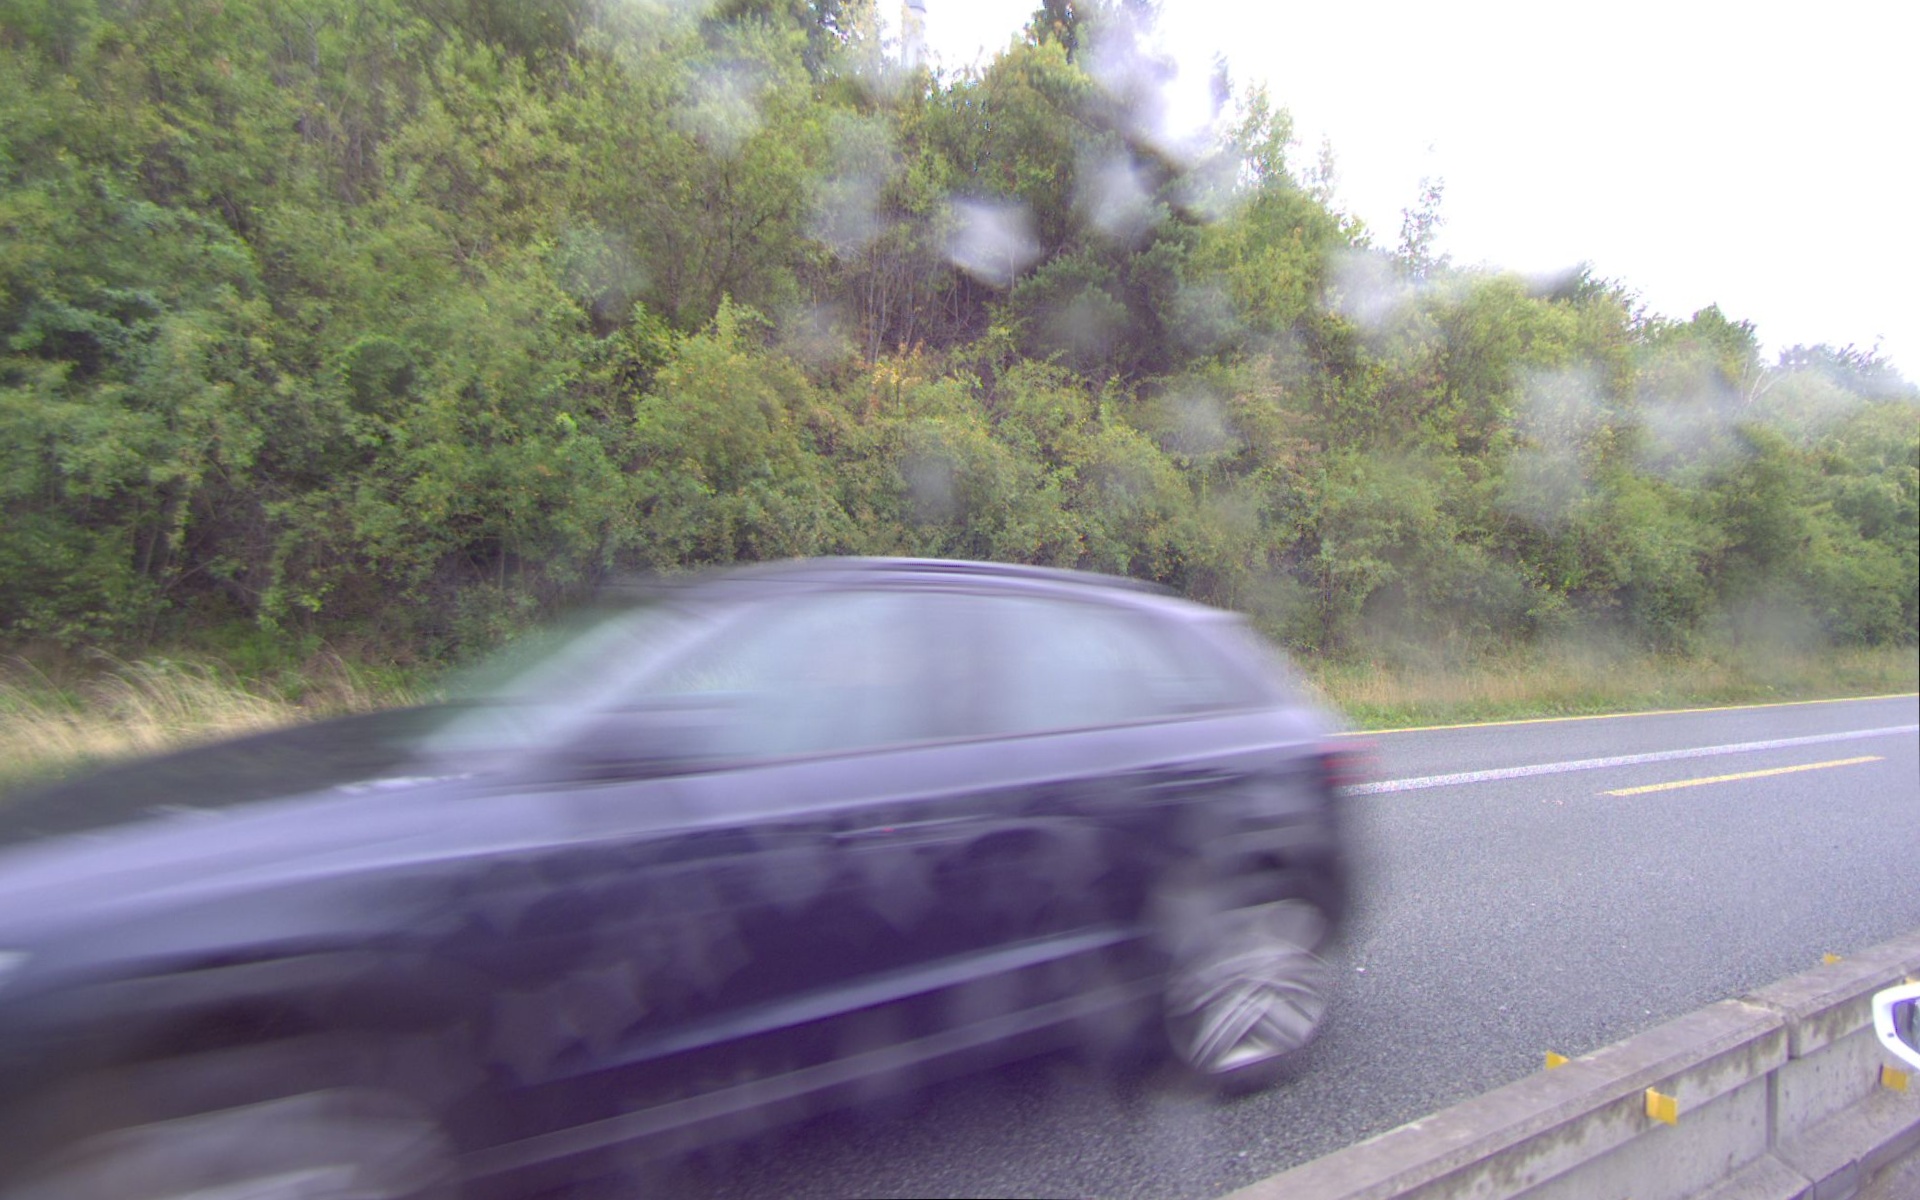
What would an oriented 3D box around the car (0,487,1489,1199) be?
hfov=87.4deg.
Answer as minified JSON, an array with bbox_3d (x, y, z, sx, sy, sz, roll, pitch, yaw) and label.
[{"bbox_3d":[-0.294,0.664,3.299,3.944,1.580,1.801,2,0,-31],"label":"car"}]
